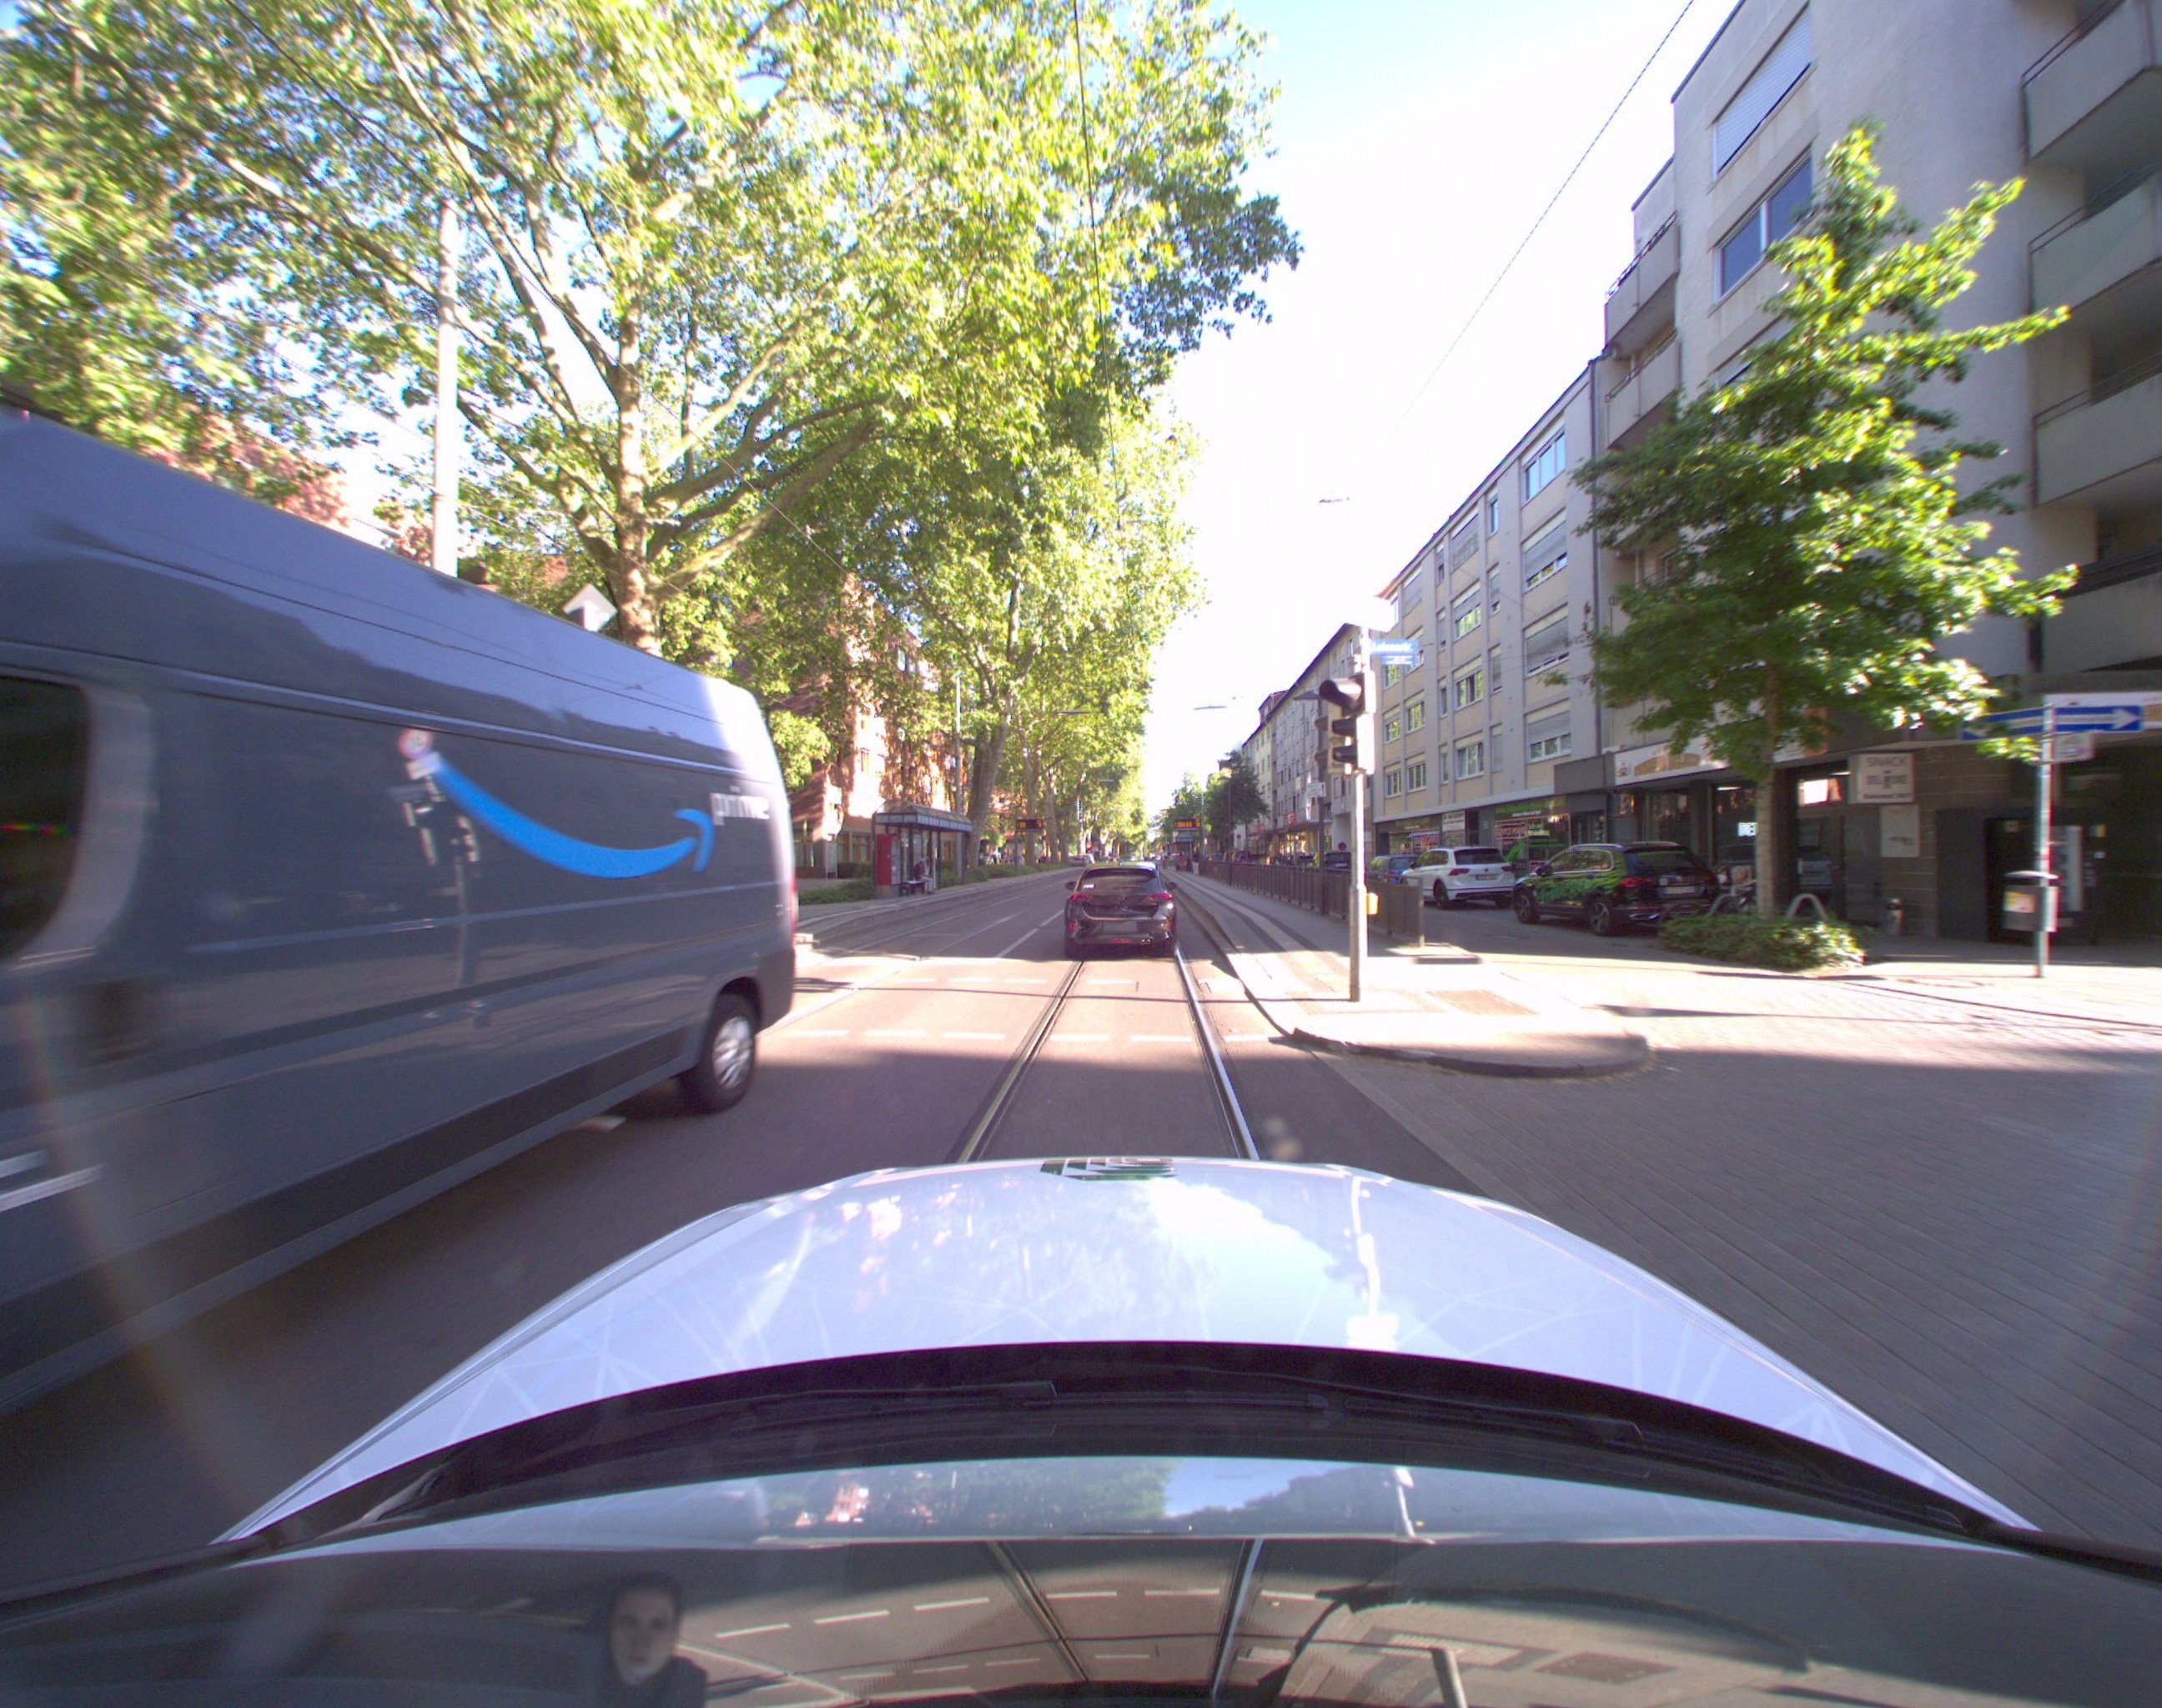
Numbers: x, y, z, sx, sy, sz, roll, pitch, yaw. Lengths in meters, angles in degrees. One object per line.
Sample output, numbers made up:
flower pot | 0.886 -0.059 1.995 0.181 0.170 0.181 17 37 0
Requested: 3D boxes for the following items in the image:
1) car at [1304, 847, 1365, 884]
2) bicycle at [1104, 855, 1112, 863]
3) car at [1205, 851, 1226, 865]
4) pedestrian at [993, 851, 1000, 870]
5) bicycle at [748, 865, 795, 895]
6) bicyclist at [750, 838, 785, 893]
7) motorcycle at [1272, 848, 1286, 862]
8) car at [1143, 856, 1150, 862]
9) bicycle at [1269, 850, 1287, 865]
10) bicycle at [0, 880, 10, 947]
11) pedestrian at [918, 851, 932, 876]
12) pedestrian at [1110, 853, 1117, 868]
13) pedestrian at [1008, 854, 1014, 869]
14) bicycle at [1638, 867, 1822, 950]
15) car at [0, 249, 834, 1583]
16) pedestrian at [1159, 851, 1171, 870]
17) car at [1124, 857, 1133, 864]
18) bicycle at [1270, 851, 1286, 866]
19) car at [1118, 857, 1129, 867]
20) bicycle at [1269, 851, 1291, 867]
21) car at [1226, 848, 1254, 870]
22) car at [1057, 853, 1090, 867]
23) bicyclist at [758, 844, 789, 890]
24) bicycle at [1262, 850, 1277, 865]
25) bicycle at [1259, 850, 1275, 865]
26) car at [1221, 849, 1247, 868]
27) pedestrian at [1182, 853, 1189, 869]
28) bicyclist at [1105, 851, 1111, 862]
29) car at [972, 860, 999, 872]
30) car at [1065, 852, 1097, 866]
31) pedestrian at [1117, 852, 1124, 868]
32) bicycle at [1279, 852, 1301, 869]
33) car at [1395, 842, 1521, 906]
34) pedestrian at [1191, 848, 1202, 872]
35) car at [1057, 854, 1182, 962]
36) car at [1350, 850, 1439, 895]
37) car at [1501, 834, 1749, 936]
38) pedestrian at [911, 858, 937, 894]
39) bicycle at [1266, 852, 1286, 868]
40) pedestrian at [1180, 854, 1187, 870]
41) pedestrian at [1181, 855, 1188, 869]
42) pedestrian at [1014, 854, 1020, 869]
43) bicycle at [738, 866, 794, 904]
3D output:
car | 11.925 0.543 38.558 1.849 1.615 4.403 0 -1 4
bicycle | 4.165 0.741 127.503 0.950 1.240 2.983 0 -1 7
car | 15.170 0.471 91.805 1.984 1.486 4.004 0 -1 4
pedestrian | -8.850 0.685 85.235 0.670 1.950 0.498 0 -1 0
bicycle | -11.940 0.971 31.527 0.779 1.111 2.597 0 -1 1
bicyclist | -10.397 0.377 27.037 0.779 1.763 0.951 0 -1 1
motorcycle | 17.630 0.080 72.704 0.888 1.280 2.045 0 -1 4
car | 19.909 1.532 247.668 1.738 1.544 4.002 0 -1 3
bicycle | 15.426 0.260 63.811 0.596 1.136 2.198 0 -1 -7
bicycle | -18.029 1.005 12.705 0.539 1.084 1.538 0 2 3
pedestrian | -10.670 0.631 55.615 0.732 1.672 0.862 0 -1 4
pedestrian | 4.284 0.823 107.220 0.671 2.013 0.703 1 0 10
pedestrian | -9.127 0.995 105.986 0.670 1.950 0.498 1 0 1
bicycle | 9.792 0.807 12.370 2.112 1.187 0.683 0 -1 12
car | -3.167 0.148 3.165 2.104 2.738 6.121 -1 -1 4
pedestrian | 7.367 0.589 71.779 0.742 1.709 0.768 0 -1 39
car | 10.558 1.455 180.025 1.985 1.693 4.002 0 -1 3
bicycle | 15.057 0.366 62.257 0.410 1.136 2.198 0 -1 -7
car | 7.165 1.376 137.048 1.738 1.544 4.002 0 -1 3
bicycle | 14.632 0.361 59.936 0.610 1.136 2.914 0 -1 -7
car | 14.209 0.440 72.871 1.985 1.952 4.003 0 -1 3
car | -0.995 0.739 103.232 4.105 1.701 1.881 0 -1 -3
bicyclist | -11.927 0.483 31.581 0.771 1.750 0.998 0 -1 2
bicycle | 15.331 0.284 66.304 0.595 1.136 2.202 0 -1 -1
bicycle | 14.797 0.267 64.865 0.596 1.136 2.198 0 -1 -7
car | 14.891 0.493 79.555 1.985 1.797 4.003 0 -1 3
pedestrian | 8.159 0.580 63.688 0.532 1.230 0.510 0 -1 0
bicyclist | 4.280 0.392 128.414 0.936 1.703 1.155 0 -1 7
car | -16.514 2.036 140.955 4.231 2.014 2.002 0 -1 4
car | -0.054 0.699 115.210 4.375 1.851 1.998 0 -1 -3
pedestrian | 5.184 0.791 107.057 0.670 2.013 0.704 1 0 16
bicycle | 14.386 0.420 56.121 0.620 1.136 2.433 0 -1 -7
car | 10.370 0.535 22.779 1.791 1.606 4.420 0 -1 4
pedestrian | 7.473 0.378 52.854 0.628 1.576 0.871 2 0 4
car | 0.621 0.791 13.420 1.753 1.508 3.685 -1 -1 2
car | 10.789 0.618 28.317 1.736 1.440 4.252 0 -1 4
car | 10.093 0.540 15.628 1.984 1.615 4.450 -2 -1 4
pedestrian | -5.288 0.742 27.485 0.703 1.168 0.659 -2 -1 1
bicycle | 14.053 0.432 58.793 0.602 1.136 2.429 0 -1 -7
pedestrian | 8.189 0.630 64.894 0.501 1.304 0.428 0 -1 0
pedestrian | 8.173 0.638 64.287 0.532 1.099 0.551 0 -1 0
pedestrian | -8.297 0.980 105.197 0.670 1.950 0.498 1 0 1
bicycle | -10.415 0.994 27.022 0.779 1.191 2.597 0 -1 1
